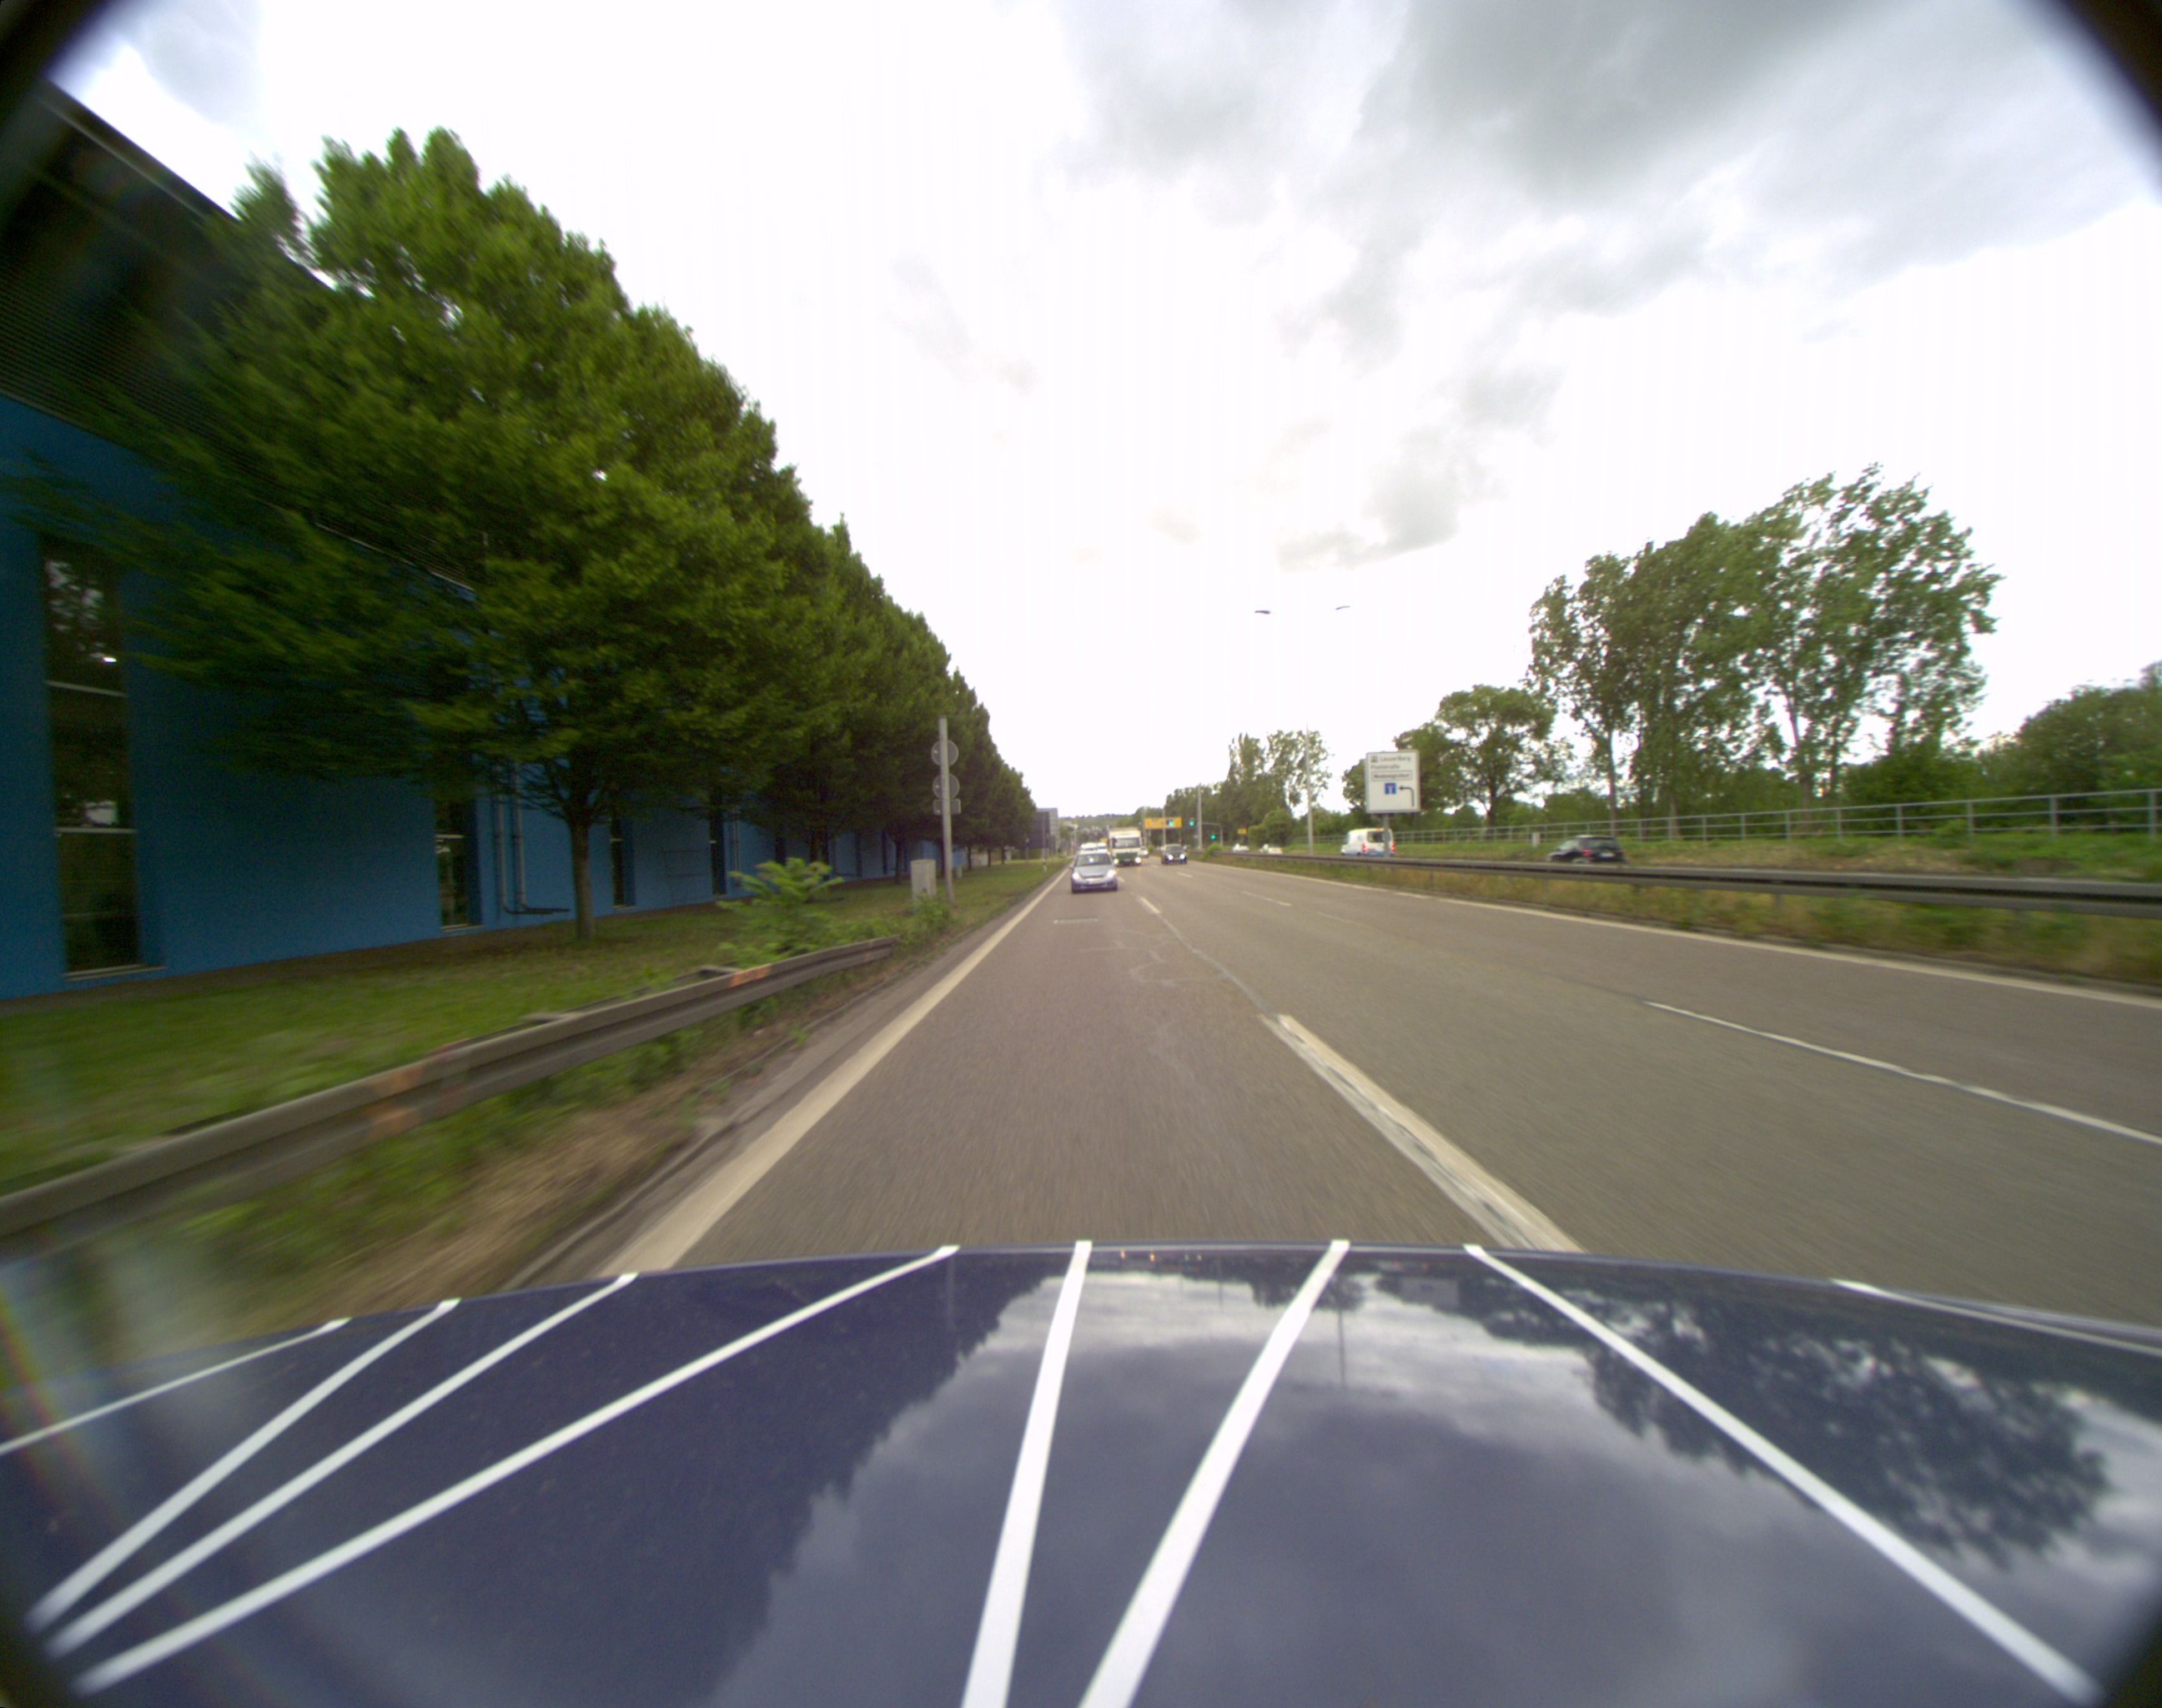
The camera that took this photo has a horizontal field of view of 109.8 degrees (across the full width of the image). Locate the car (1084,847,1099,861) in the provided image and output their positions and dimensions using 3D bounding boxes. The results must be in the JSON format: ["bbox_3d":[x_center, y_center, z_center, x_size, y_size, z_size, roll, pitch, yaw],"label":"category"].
[{"bbox_3d":[1.484,0.003,105.476,1.883,1.715,4.146,-3,0,0],"label":"car"}]

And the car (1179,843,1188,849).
[{"bbox_3d":[23.960,-1.774,178.425,1.582,1.291,4.061,-3,0,1],"label":"car"}]

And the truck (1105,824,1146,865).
[{"bbox_3d":[3.699,-0.758,66.036,2.657,3.121,12.507,-3,0,0],"label":"truck"}]

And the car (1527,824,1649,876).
[{"bbox_3d":[18.670,-0.134,28.229,1.883,1.715,4.147,-3,0,3],"label":"car"}]

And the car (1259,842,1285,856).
[{"bbox_3d":[19.531,-0.516,77.935,1.663,1.390,3.989,-3,0,1],"label":"car"}]

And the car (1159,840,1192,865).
[{"bbox_3d":[7.264,-0.118,58.667,1.883,1.715,4.146,-3,0,0],"label":"car"}]

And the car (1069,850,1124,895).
[{"bbox_3d":[0.527,0.655,28.932,1.883,1.530,4.146,-3,0,0],"label":"car"}]

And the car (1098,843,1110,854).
[{"bbox_3d":[4.474,-1.039,148.519,1.949,2.176,4.000,-3,0,0],"label":"car"}]

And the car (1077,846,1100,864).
[{"bbox_3d":[0.684,0.084,68.577,1.949,1.517,4.000,-3,0,0],"label":"car"}]

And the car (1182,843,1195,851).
[{"bbox_3d":[19.907,-1.297,141.020,1.664,1.291,4.787,-3,0,0],"label":"car"}]

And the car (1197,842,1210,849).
[{"bbox_3d":[23.824,-1.693,147.698,1.664,1.291,4.787,-3,0,0],"label":"car"}]

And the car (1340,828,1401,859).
[{"bbox_3d":[19.535,-0.727,51.628,2.231,1.937,5.474,-2,1,3],"label":"car"}]

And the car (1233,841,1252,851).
[{"bbox_3d":[24.028,-1.163,112.987,1.883,1.481,4.202,-3,0,1],"label":"car"}]

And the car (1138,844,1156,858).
[{"bbox_3d":[8.279,-0.371,95.799,1.883,1.715,4.146,-3,0,0],"label":"car"}]
